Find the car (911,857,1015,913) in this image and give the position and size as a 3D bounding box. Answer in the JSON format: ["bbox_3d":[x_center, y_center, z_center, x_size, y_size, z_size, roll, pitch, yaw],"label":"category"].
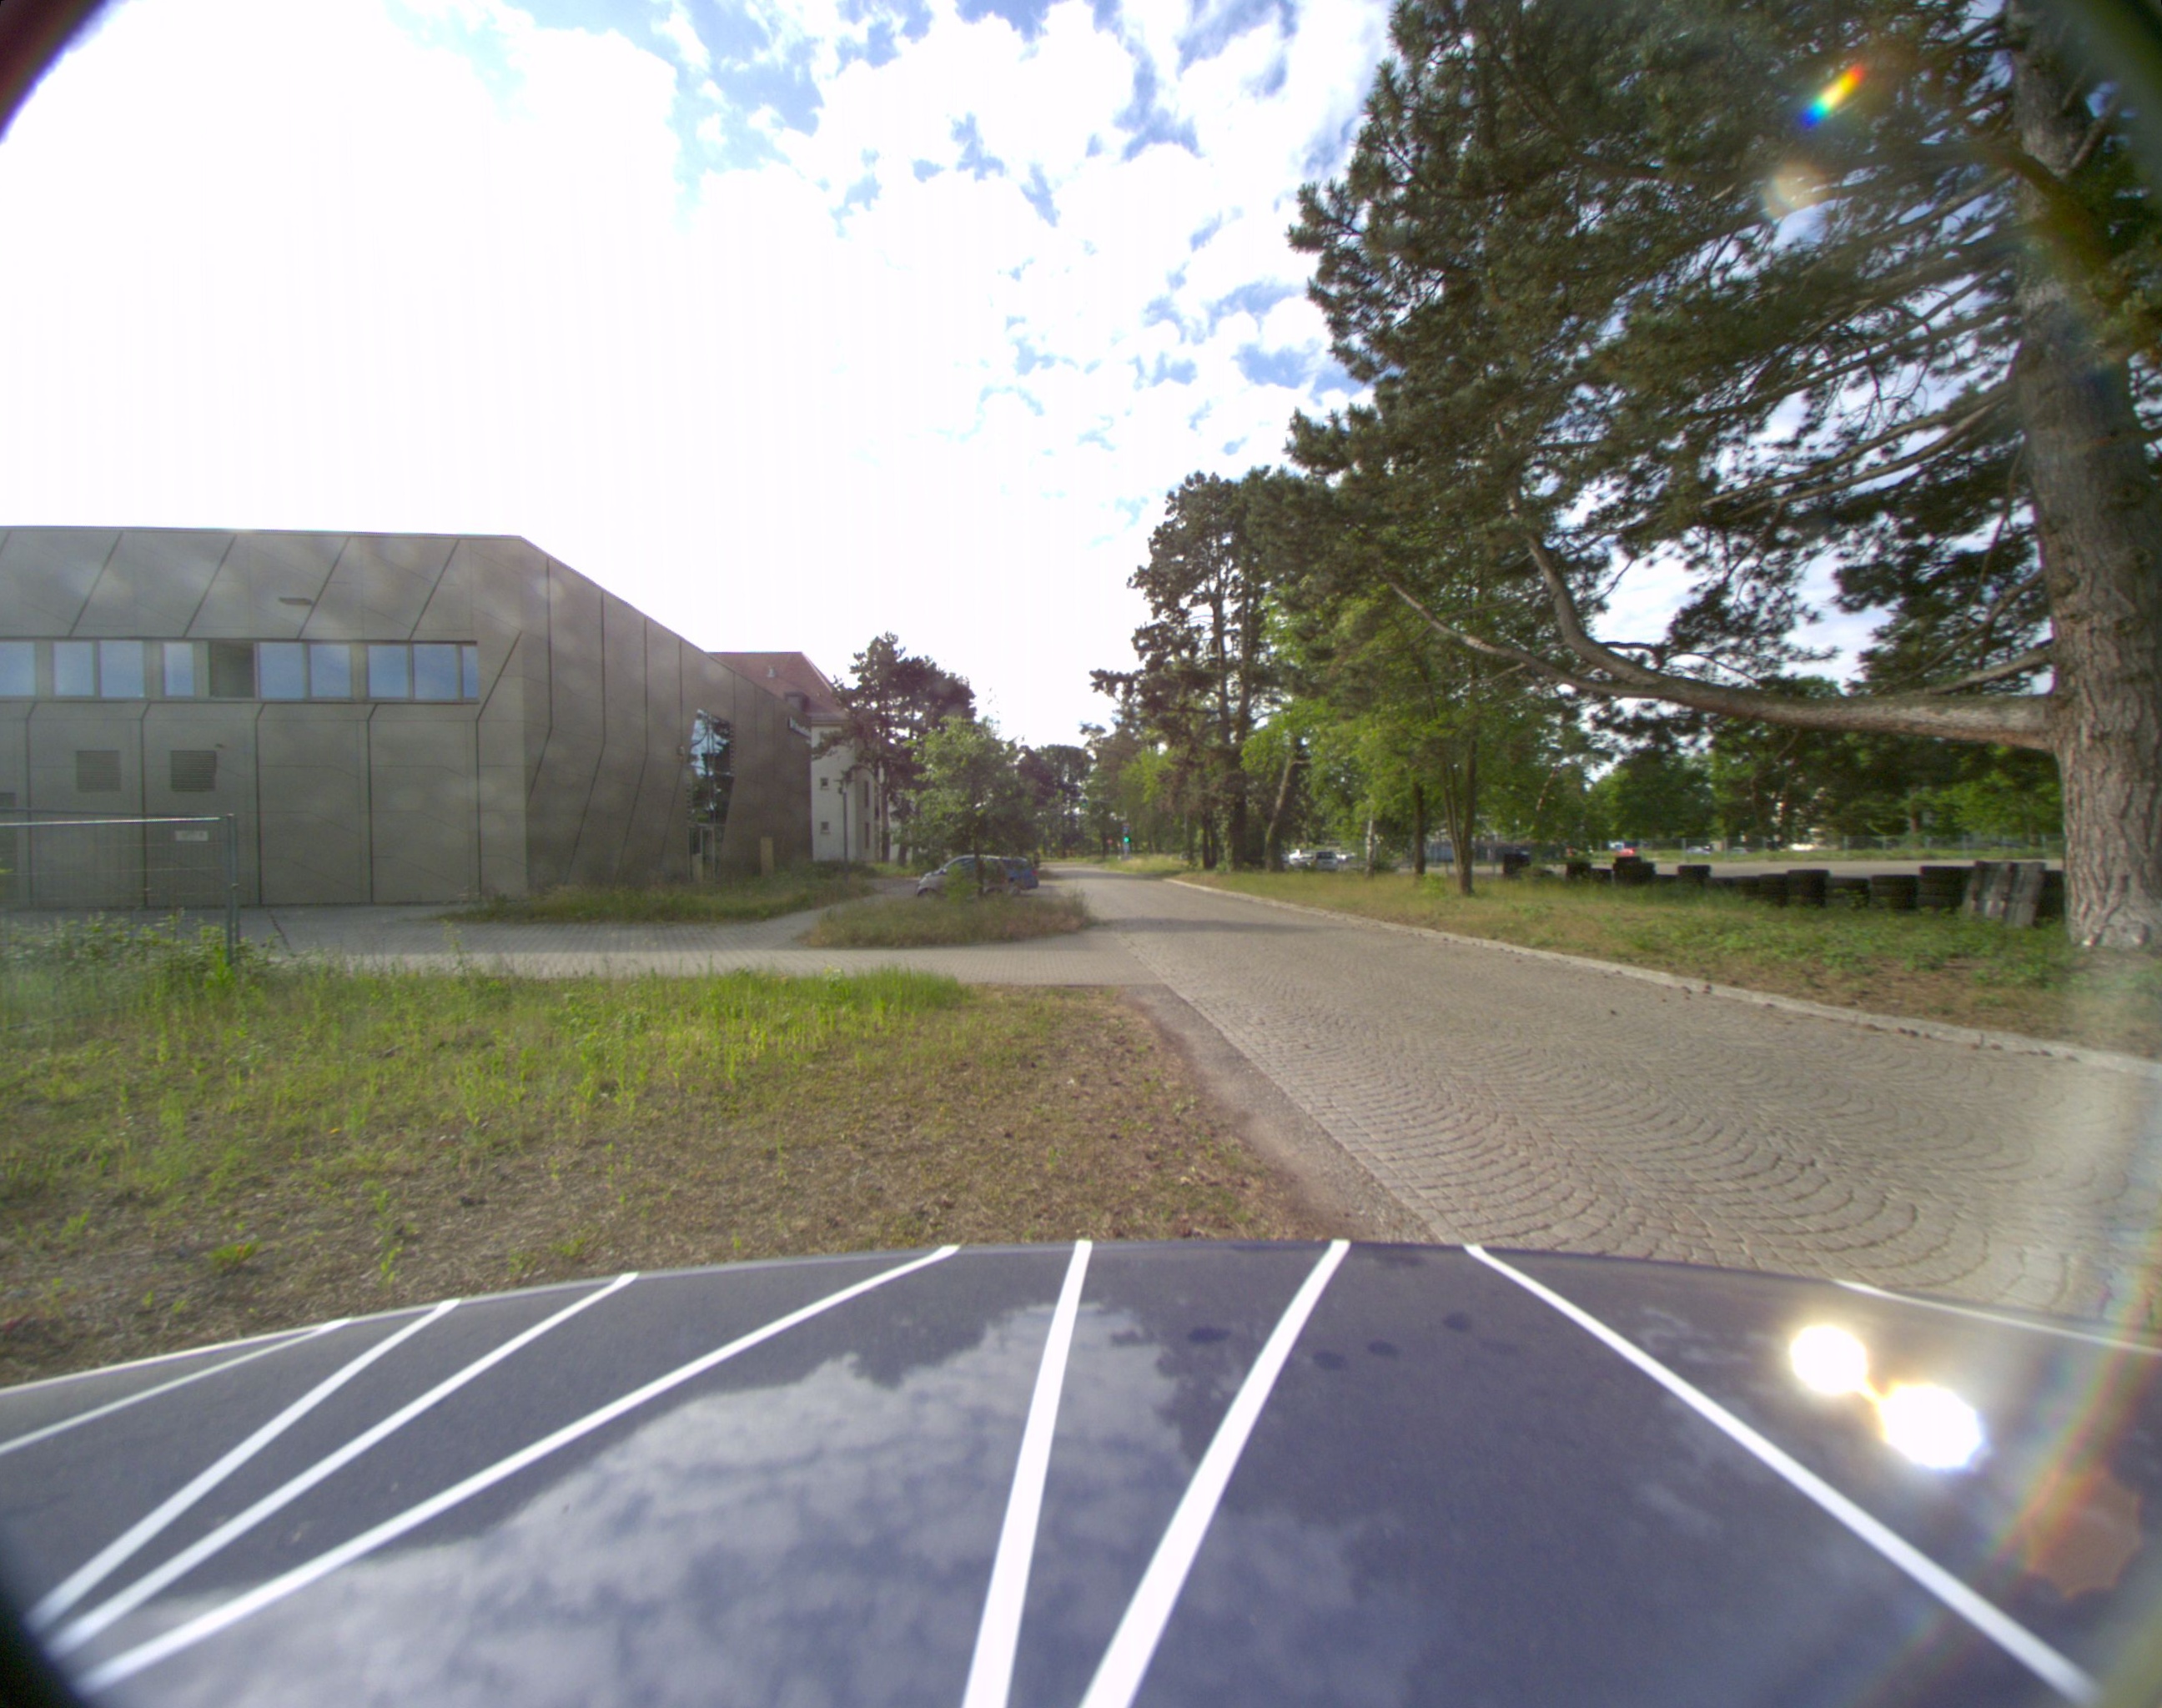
[{"bbox_3d":[-3.361,0.870,22.026,2.767,1.540,1.425,-1,1,0],"label":"car"}]

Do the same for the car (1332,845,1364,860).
[{"bbox_3d":[29.552,-0.216,84.235,1.999,1.608,3.998,-1,0,-3],"label":"car"}]

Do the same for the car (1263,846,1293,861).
[{"bbox_3d":[21.433,-0.072,82.880,1.999,1.608,3.998,-1,0,-3],"label":"car"}]

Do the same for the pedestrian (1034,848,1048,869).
[{"bbox_3d":[-3.467,0.392,65.942,0.960,1.833,0.954,-1,1,-18],"label":"pedestrian"}]

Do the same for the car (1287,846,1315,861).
[{"bbox_3d":[24.116,-0.102,83.305,1.826,1.608,3.999,-1,0,-1],"label":"car"}]

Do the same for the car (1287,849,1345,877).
[{"bbox_3d":[13.832,0.508,44.900,1.892,1.532,3.998,-1,0,-5],"label":"car"}]

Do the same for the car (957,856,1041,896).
[{"bbox_3d":[-3.182,0.830,29.374,3.094,1.449,1.491,1,0,-8],"label":"car"}]
